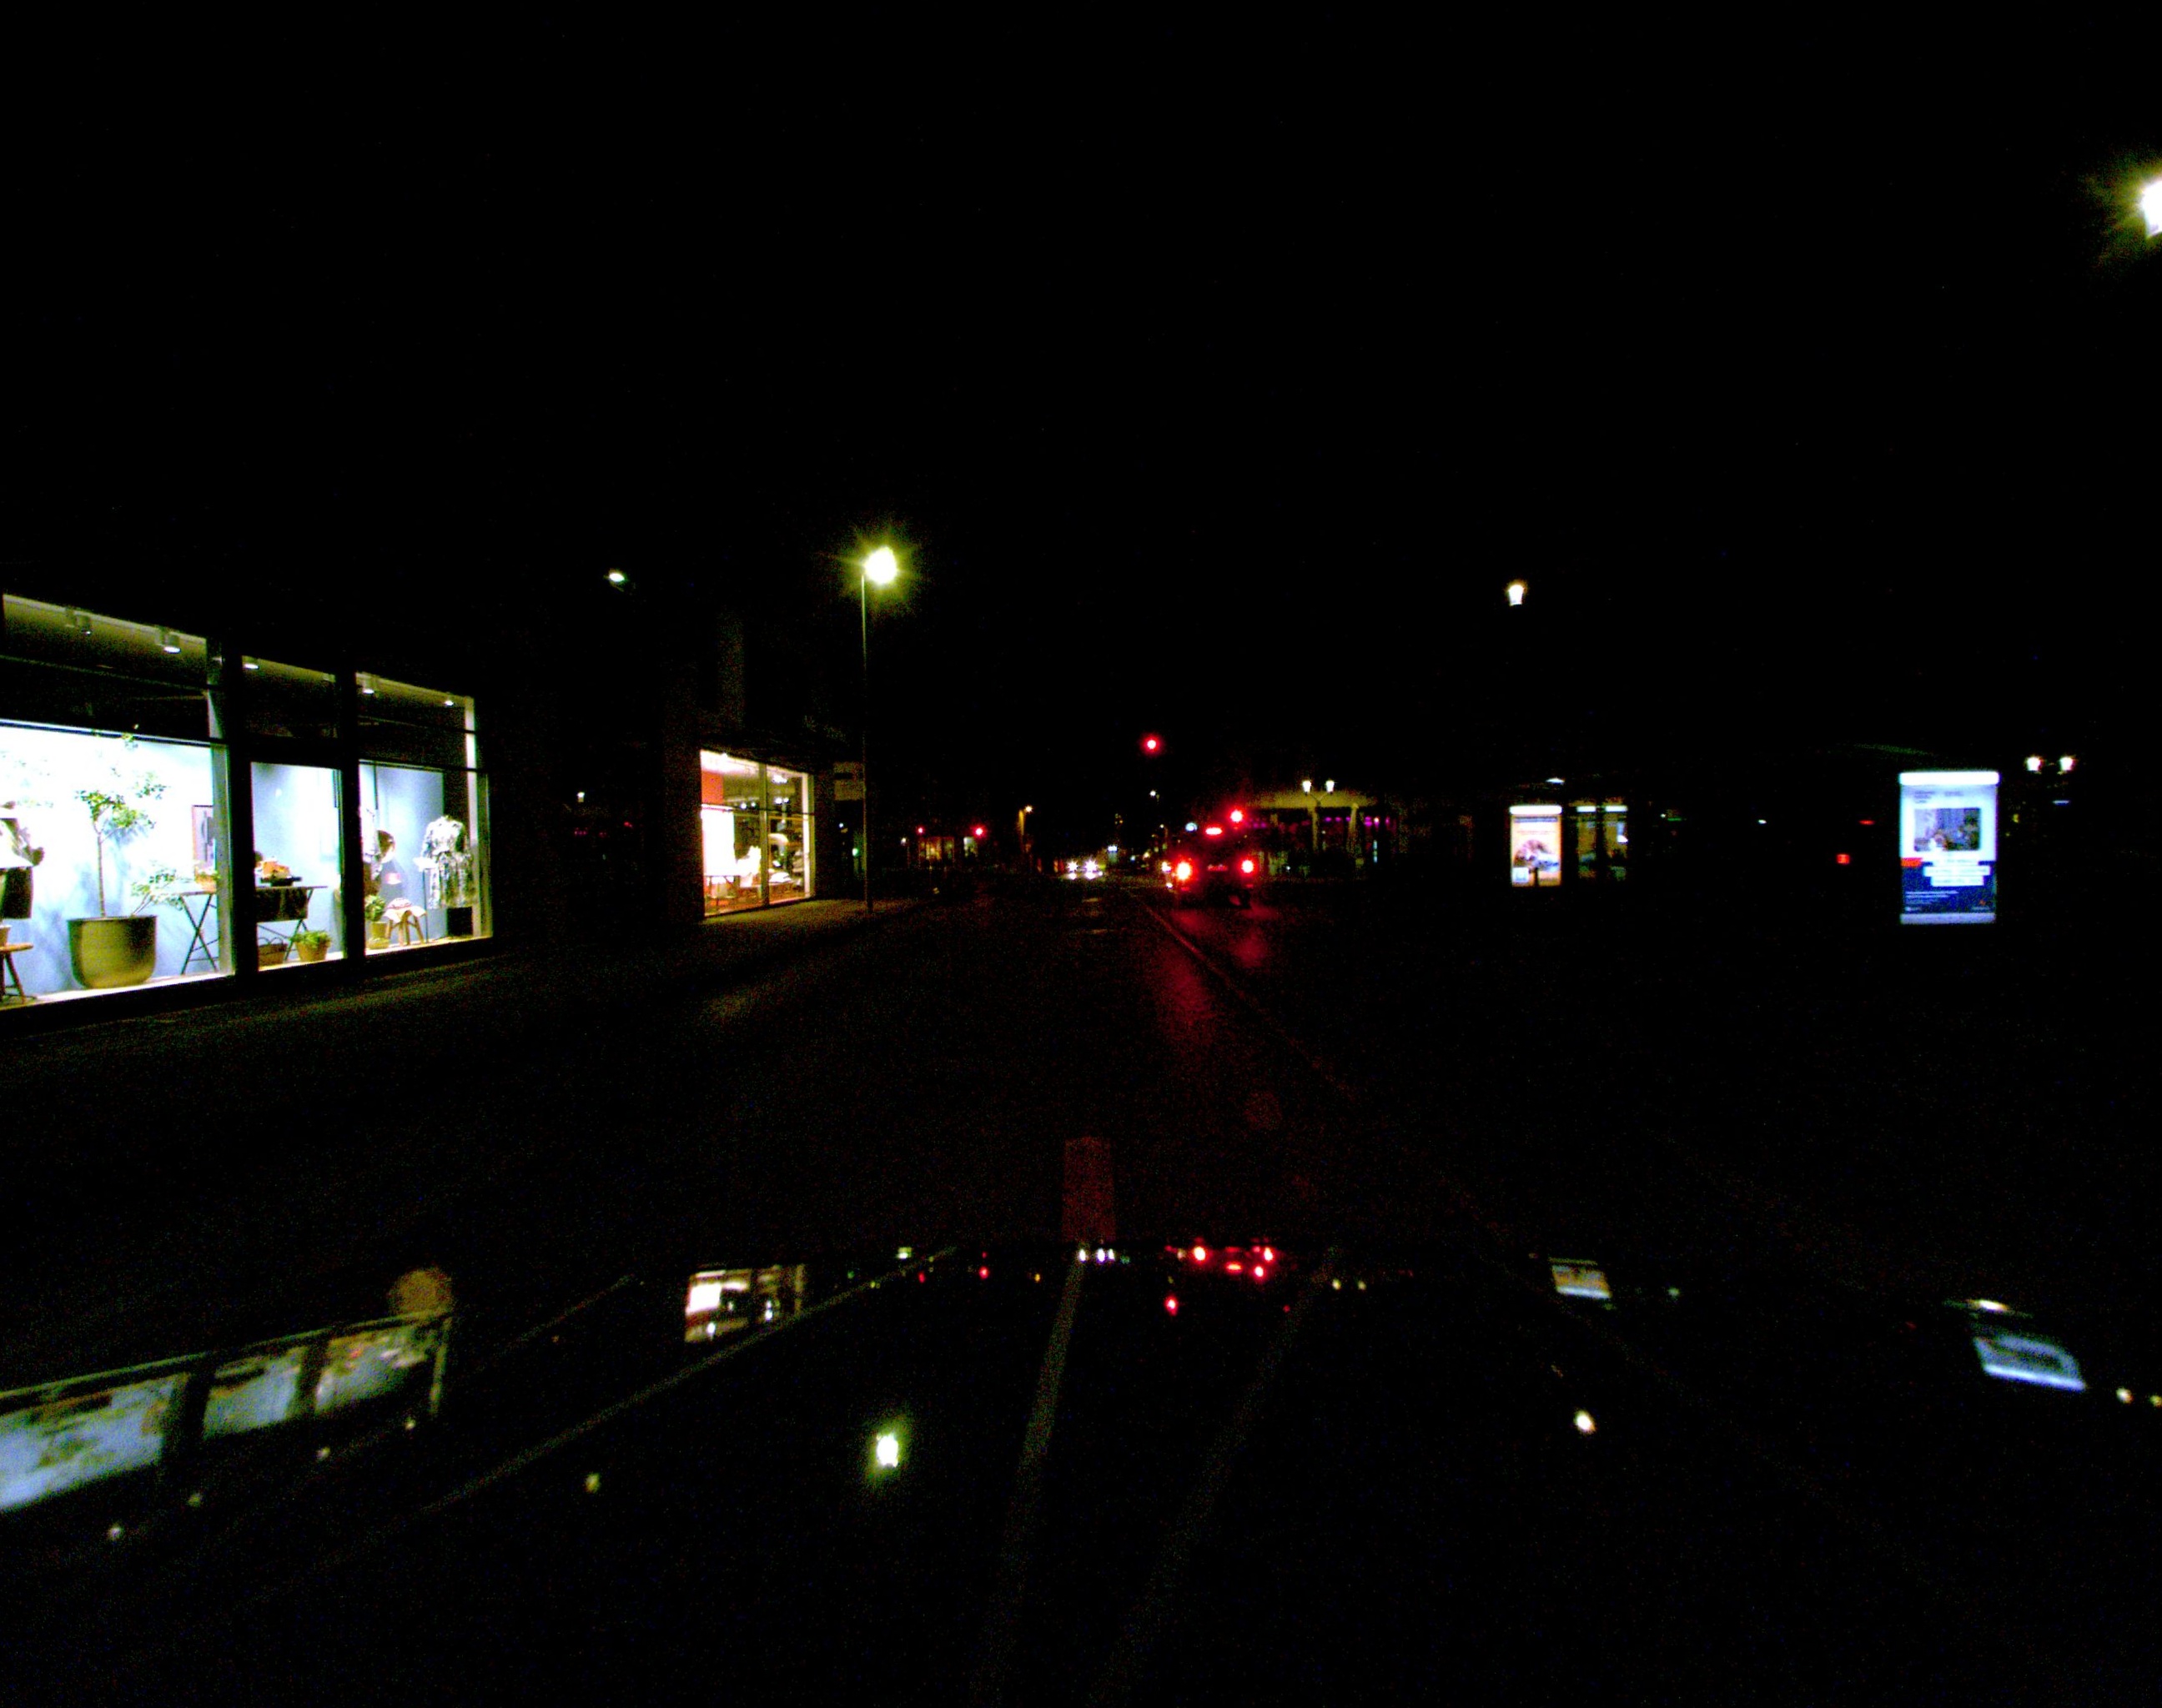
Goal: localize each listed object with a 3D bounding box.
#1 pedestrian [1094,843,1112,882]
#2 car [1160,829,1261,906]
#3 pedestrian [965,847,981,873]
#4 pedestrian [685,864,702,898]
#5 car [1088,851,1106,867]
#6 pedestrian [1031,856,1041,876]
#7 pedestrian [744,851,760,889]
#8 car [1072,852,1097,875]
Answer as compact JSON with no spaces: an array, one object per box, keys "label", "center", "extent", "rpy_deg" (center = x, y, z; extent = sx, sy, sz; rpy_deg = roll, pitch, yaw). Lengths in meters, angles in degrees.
[{"label":"pedestrian","center":[1.000,0.365,33.742],"extent":[0.539,1.672,0.648],"rpy_deg":[-2,1,23]},{"label":"car","center":[3.415,0.298,20.998],"extent":[1.971,1.861,4.911],"rpy_deg":[-1,1,1]},{"label":"pedestrian","center":[-7.102,0.390,49.932],"extent":[0.877,1.723,0.647],"rpy_deg":[0,1,4]},{"label":"pedestrian","center":[-19.866,1.401,38.955],"extent":[0.524,1.707,0.566],"rpy_deg":[-2,1,2]},{"label":"car","center":[1.831,0.577,86.689],"extent":[1.879,1.718,3.999],"rpy_deg":[-2,1,1]},{"label":"pedestrian","center":[-3.451,0.928,58.571],"extent":[0.648,1.487,0.828],"rpy_deg":[-1,1,-12]},{"label":"pedestrian","center":[-14.866,0.728,34.353],"extent":[0.407,1.677,0.487],"rpy_deg":[-2,1,5]},{"label":"car","center":[0.281,0.704,60.209],"extent":[1.713,1.660,3.738],"rpy_deg":[-2,1,3]}]
